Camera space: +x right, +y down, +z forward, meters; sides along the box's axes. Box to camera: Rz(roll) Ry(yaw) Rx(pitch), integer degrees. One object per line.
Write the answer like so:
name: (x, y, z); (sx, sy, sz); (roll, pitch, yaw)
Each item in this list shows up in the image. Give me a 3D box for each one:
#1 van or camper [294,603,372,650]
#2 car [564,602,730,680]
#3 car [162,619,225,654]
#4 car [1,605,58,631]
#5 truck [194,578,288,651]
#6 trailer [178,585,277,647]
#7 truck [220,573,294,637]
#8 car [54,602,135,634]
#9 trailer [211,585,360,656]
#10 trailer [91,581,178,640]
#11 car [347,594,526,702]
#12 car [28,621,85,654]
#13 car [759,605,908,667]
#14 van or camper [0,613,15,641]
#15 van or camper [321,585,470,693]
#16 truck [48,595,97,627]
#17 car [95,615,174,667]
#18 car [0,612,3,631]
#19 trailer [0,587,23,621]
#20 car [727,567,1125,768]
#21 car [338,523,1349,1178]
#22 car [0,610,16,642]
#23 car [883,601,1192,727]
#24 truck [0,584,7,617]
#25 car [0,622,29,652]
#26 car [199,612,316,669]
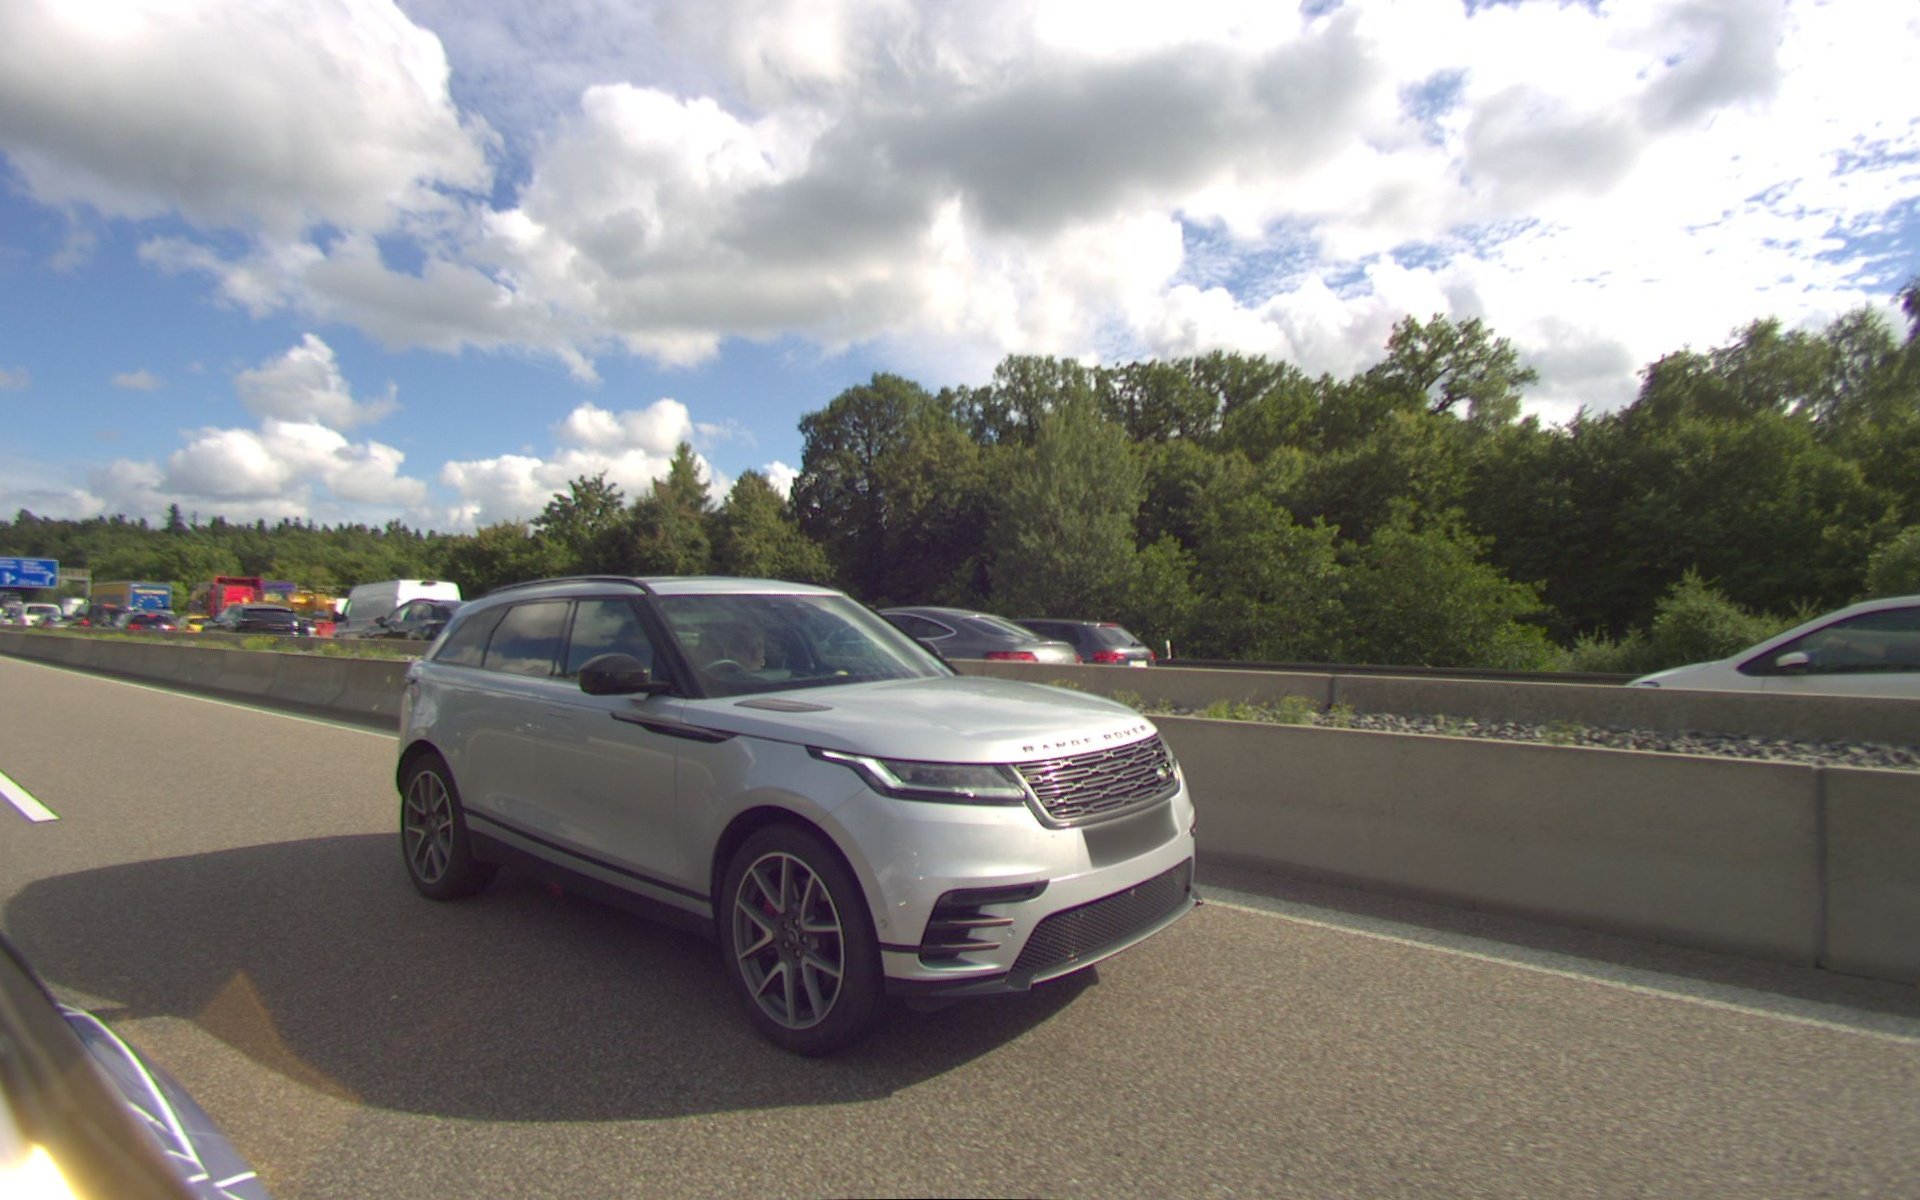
van or camper: (-43.779, 1.790, 70.559); (7.190, 3.100, 2.546); (-1, -1, 40)
car: (-7.403, 0.883, 23.790); (3.999, 1.608, 1.972); (1, 1, 42)
car: (-37.802, 1.769, 49.854); (3.997, 1.603, 1.620); (-1, 0, 40)
car: (-54.972, 1.024, 59.749); (5.485, 1.364, 1.831); (1, 1, 40)
truck: (-41.273, 0.844, 58.025); (6.847, 3.968, 2.748); (-1, -1, 40)
trailer: (-53.624, 1.002, 73.841); (14.035, 4.150, 2.780); (1, 1, 41)
truck: (-47.679, 0.359, 68.625); (5.448, 4.181, 2.783); (-1, -1, 40)
car: (-39.432, 0.812, 46.025); (6.228, 1.359, 1.796); (-1, 0, 40)
trailer: (-35.965, 1.088, 53.560); (14.207, 3.361, 2.700); (-1, -1, 40)
trailer: (-63.922, 0.686, 78.220); (13.650, 4.266, 2.743); (1, 1, 40)
car: (-11.053, 0.941, 21.234); (4.518, 2.029, 1.862); (-1, -1, 42)
car: (-47.805, 1.941, 53.512); (3.997, 1.615, 1.706); (-1, 0, 40)
car: (-4.822, 1.269, 37.735); (6.325, 2.029, 1.865); (1, 1, 42)
van or camper: (-99.066, 2.763, 104.234); (5.749, 2.731, 2.024); (1, 1, 41)
van or camper: (-18.455, 1.192, 32.908); (6.239, 3.196, 2.117); (-1, 0, 40)
truck: (-82.756, 0.992, 94.334); (7.944, 2.822, 2.304); (-1, 1, 41)
car: (-32.698, 1.565, 40.050); (4.293, 1.829, 1.670); (1, 1, 40)
car: (-72.782, 1.620, 75.390); (3.997, 1.387, 1.739); (-1, -1, 40)
trailer: (-119.701, 0.421, 126.000); (15.997, 4.004, 2.801); (1, 1, 41)
car: (-0.630, 0.726, 12.606); (5.089, 2.029, 1.885); (-1, -1, 42)
car: (-1.023, 0.636, 4.884); (5.101, 1.619, 1.881); (0, -1, 40)
car: (-91.992, 2.481, 96.696); (5.399, 2.985, 1.973); (-1, 1, 41)
car: (1.072, 0.853, 15.652); (4.523, 1.608, 1.972); (1, 1, 42)
truck: (-126.995, 0.121, 132.356); (5.710, 4.266, 2.824); (-1, 0, 41)
car: (-63.436, 2.436, 67.304); (4.293, 1.829, 1.670); (1, 1, 40)
car: (-21.265, 1.174, 30.588); (4.285, 1.603, 1.817); (-1, -2, 40)
